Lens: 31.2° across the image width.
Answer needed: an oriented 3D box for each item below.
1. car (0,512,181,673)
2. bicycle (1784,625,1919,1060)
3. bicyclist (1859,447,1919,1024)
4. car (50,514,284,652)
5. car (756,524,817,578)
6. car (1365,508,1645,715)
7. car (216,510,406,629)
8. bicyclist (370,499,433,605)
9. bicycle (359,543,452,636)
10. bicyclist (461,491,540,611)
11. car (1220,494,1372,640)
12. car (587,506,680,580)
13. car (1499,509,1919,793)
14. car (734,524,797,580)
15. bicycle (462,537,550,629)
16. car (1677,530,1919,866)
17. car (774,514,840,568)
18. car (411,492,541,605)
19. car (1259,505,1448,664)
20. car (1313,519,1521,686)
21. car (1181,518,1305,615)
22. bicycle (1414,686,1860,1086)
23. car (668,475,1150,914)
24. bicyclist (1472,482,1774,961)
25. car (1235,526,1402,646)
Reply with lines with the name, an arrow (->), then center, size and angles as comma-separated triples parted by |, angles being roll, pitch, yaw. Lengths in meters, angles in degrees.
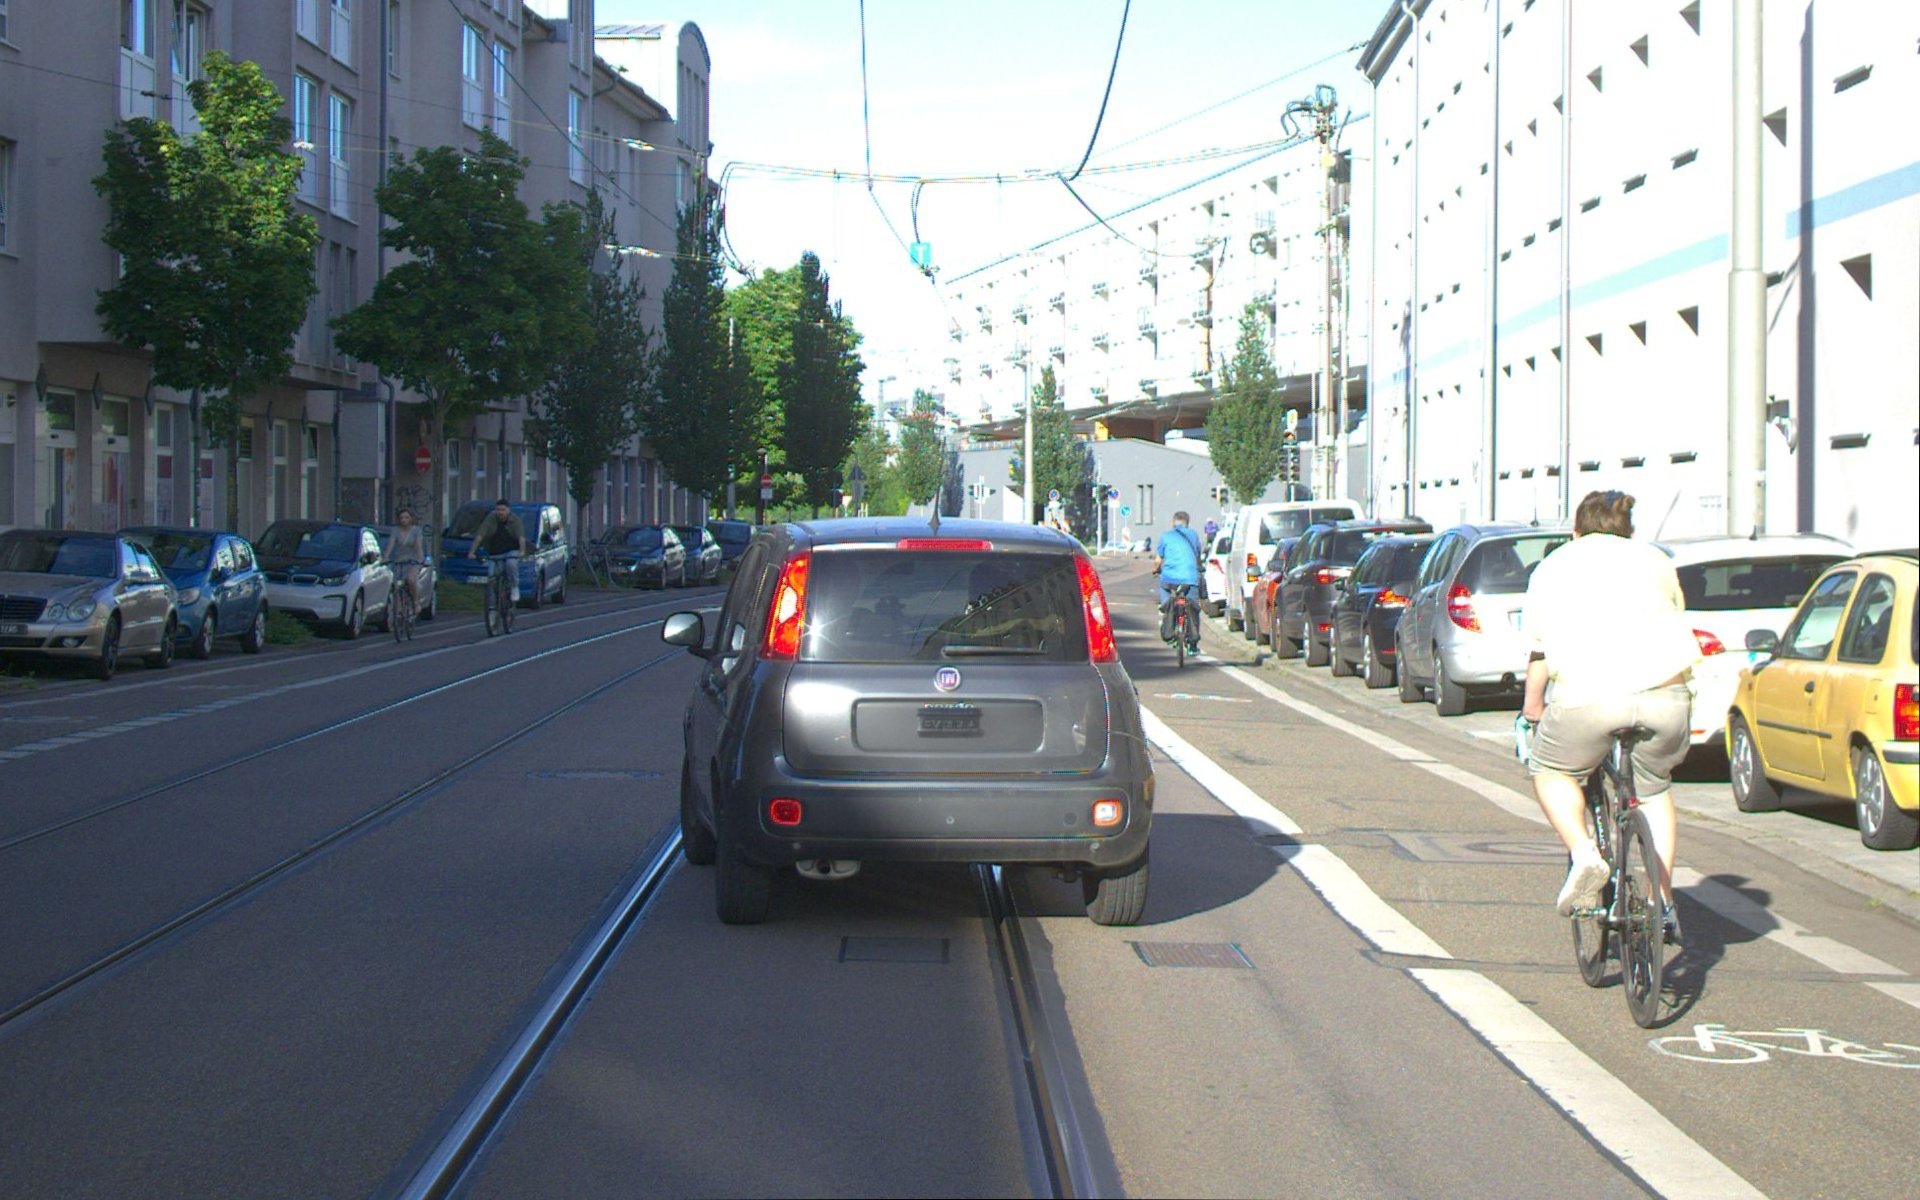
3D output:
car -> -9.166, -0.119, 34.609 | 1.744, 1.438, 4.001 | 3, 2, -1
bicycle -> 3.249, 0.745, 10.394 | 0.821, 1.232, 2.462 | 2, 1, -1
bicyclist -> 3.252, 0.393, 10.088 | 0.934, 1.670, 0.970 | 0, 1, -1
car -> -9.248, -0.243, 40.405 | 1.829, 1.484, 4.000 | -2, 2, -1
car -> -5.082, -1.448, 101.056 | 1.591, 1.535, 3.191 | 0, 1, 0
car -> 4.602, 0.043, 29.535 | 1.754, 1.565, 3.904 | -3, 2, 1
car -> -9.104, -0.462, 48.530 | 1.830, 1.588, 4.000 | 0, 2, 1
bicyclist -> -7.502, -0.650, 46.210 | 0.623, 1.375, 0.868 | -4, 1, 0
bicycle -> -7.479, -0.157, 46.438 | 0.839, 1.145, 2.233 | -4, 1, -1
bicyclist -> -6.177, -0.659, 46.238 | 0.881, 1.556, 0.868 | -3, 1, 0
car -> 4.784, -0.512, 49.456 | 1.786, 1.964, 4.155 | -1, 2, 1
car -> -7.414, -1.320, 78.352 | 1.665, 1.612, 4.000 | 0, 1, 1
car -> 4.640, 0.231, 21.726 | 1.679, 1.565, 4.510 | -1, 2, -1
car -> -5.464, -1.377, 96.888 | 1.591, 1.535, 3.191 | 0, 1, 0
bicycle -> -6.132, -0.243, 46.505 | 0.839, 1.145, 2.233 | -4, 1, -1
car -> 4.886, 0.393, 17.417 | 1.513, 1.426, 4.202 | -2, 2, -1
car -> -4.755, -1.858, 107.179 | 1.844, 1.640, 3.698 | 0, 1, 0
car -> -8.774, -0.959, 62.587 | 1.665, 1.980, 4.343 | 0, 1, 1
car -> 4.503, -0.221, 39.813 | 1.660, 1.664, 3.904 | -3, 2, 0
car -> 4.561, -0.020, 34.736 | 1.591, 1.532, 4.007 | -2, 1, 1
car -> 4.976, -0.634, 60.955 | 1.844, 1.640, 4.549 | 0, 1, 0
bicycle -> 2.062, 0.829, 10.931 | 0.738, 0.921, 2.837 | 3, 1, -2
car -> -0.319, 0.329, 13.795 | 1.556, 1.528, 3.487 | 0, 0, -7
bicyclist -> 2.097, 0.360, 10.988 | 0.727, 1.457, 1.021 | 0, 1, -1
car -> 4.645, -0.214, 45.019 | 1.795, 1.478, 3.779 | 0, 1, 0
